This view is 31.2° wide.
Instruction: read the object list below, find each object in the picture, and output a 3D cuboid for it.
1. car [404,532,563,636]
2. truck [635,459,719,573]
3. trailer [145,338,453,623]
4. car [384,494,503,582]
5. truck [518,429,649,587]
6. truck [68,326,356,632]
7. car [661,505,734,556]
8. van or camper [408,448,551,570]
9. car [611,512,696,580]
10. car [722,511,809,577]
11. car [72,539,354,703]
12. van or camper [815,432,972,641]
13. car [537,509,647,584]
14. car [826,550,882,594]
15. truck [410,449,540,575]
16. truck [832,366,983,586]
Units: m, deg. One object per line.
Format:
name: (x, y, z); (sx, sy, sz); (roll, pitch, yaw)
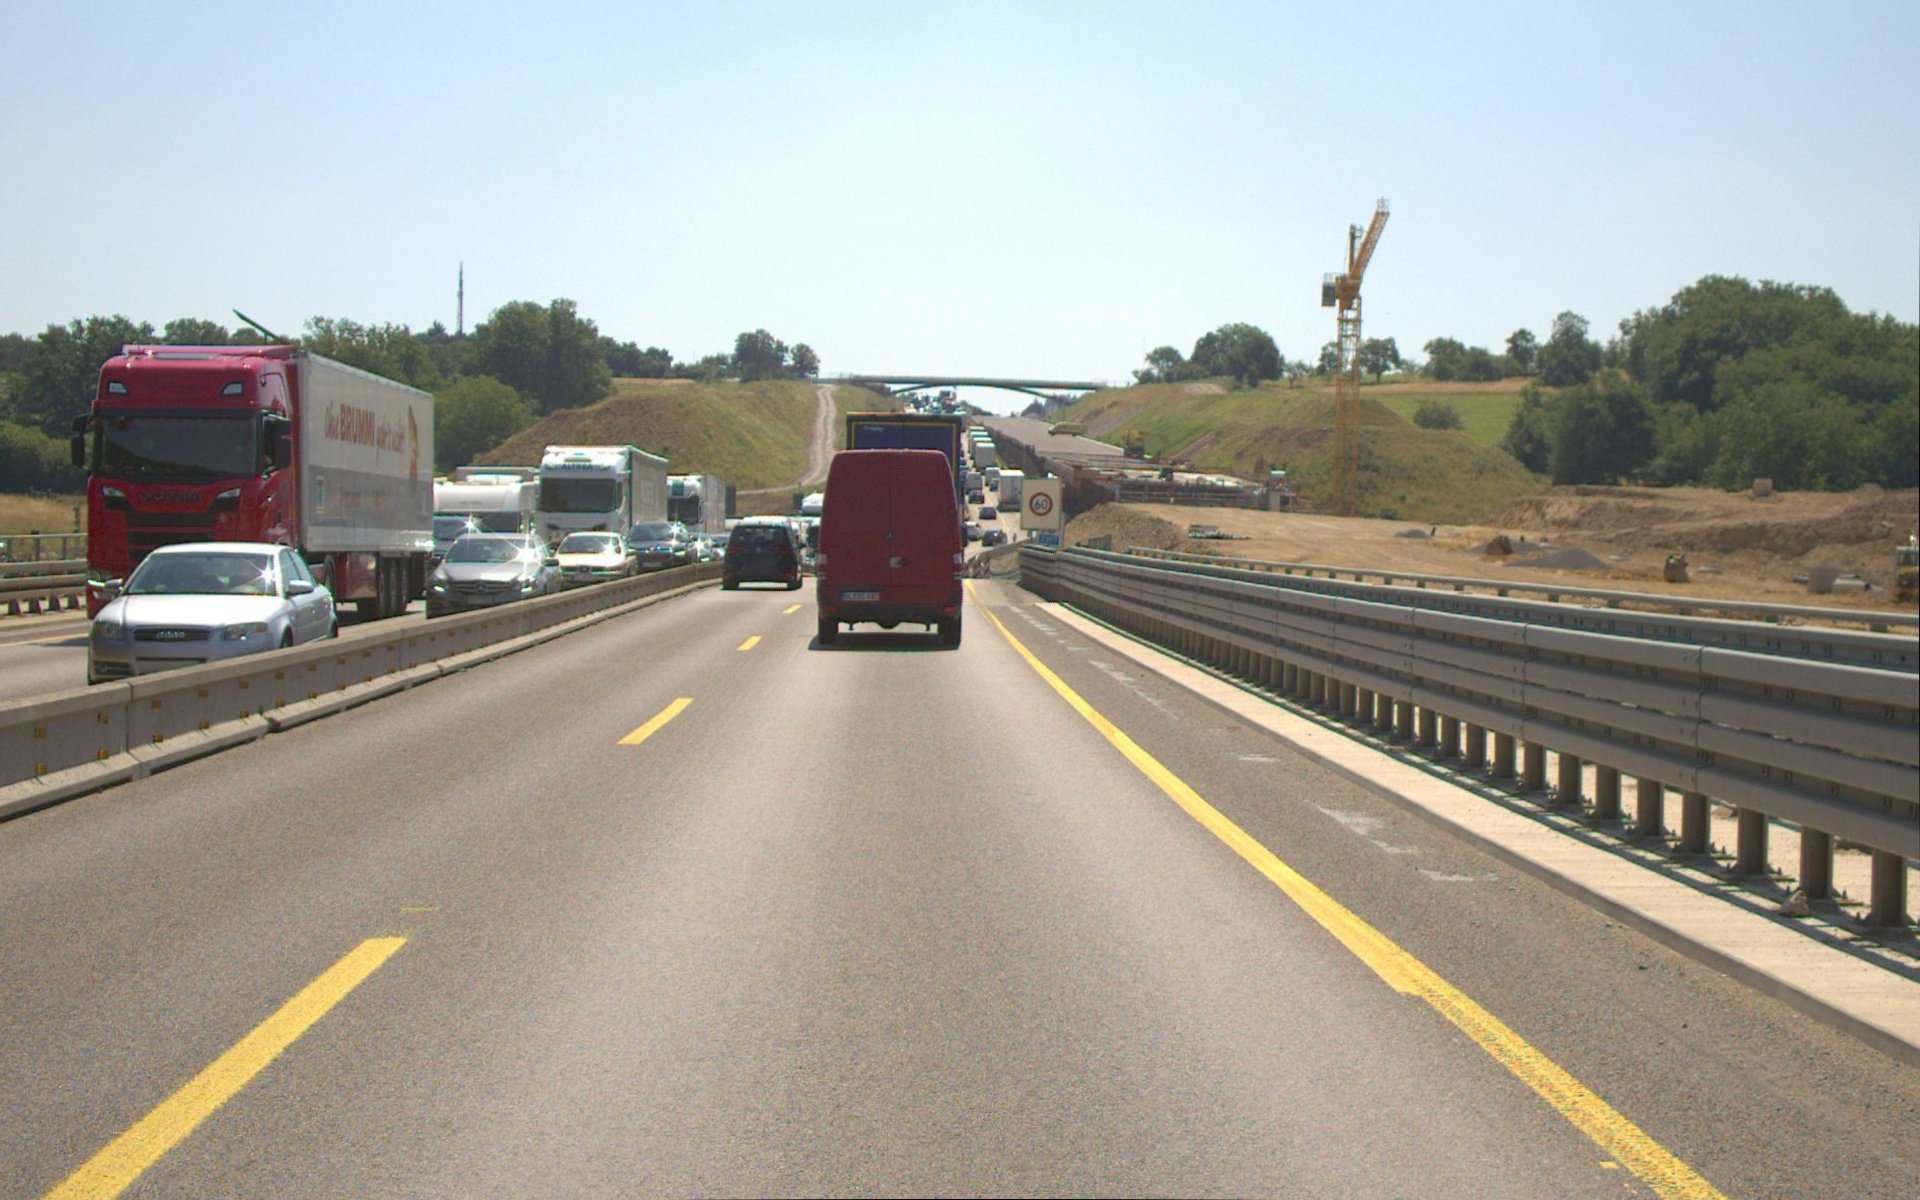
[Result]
car: (-7.552, -0.292, 54.915); (1.890, 1.482, 4.920); (3, 1, -1)
truck: (-11.145, -3.304, 135.806); (2.806, 4.377, 6.225); (0, 1, 0)
trailer: (-10.592, -1.945, 56.458); (2.806, 4.162, 11.799); (1, 2, 0)
car: (-10.736, -1.311, 71.746); (1.767, 1.728, 4.791); (2, 1, -1)
truck: (-11.187, -2.722, 102.714); (3.078, 4.521, 7.103); (1, 1, 0)
truck: (-10.495, -1.704, 48.861); (2.816, 4.023, 6.523); (1, 2, -2)
car: (-7.772, -2.076, 102.121); (1.777, 1.415, 4.538); (2, 1, 0)
van or camper: (-10.935, -2.072, 78.596); (2.503, 2.689, 5.244); (0, 1, 0)
car: (-7.889, -1.408, 88.875); (1.847, 1.682, 4.619); (1, 1, -1)
car: (-4.692, -1.378, 83.434); (2.012, 1.539, 4.133); (1, 1, -2)
car: (-6.926, 0.142, 32.326); (1.781, 1.375, 4.712); (-1, 1, -2)
van or camper: (-0.971, -0.887, 47.615); (2.029, 2.735, 4.516); (1, 1, -2)
car: (-7.950, -1.179, 74.636); (1.901, 1.456, 4.194); (2, 2, 0)
car: (-3.940, -1.064, 128.797); (2.012, 1.539, 4.133); (2, 1, -1)
truck: (-15.259, -2.790, 108.721); (2.904, 3.752, 8.368); (1, 2, -1)
truck: (-1.294, -2.815, 79.712); (3.020, 4.677, 6.933); (4, 1, -2)
